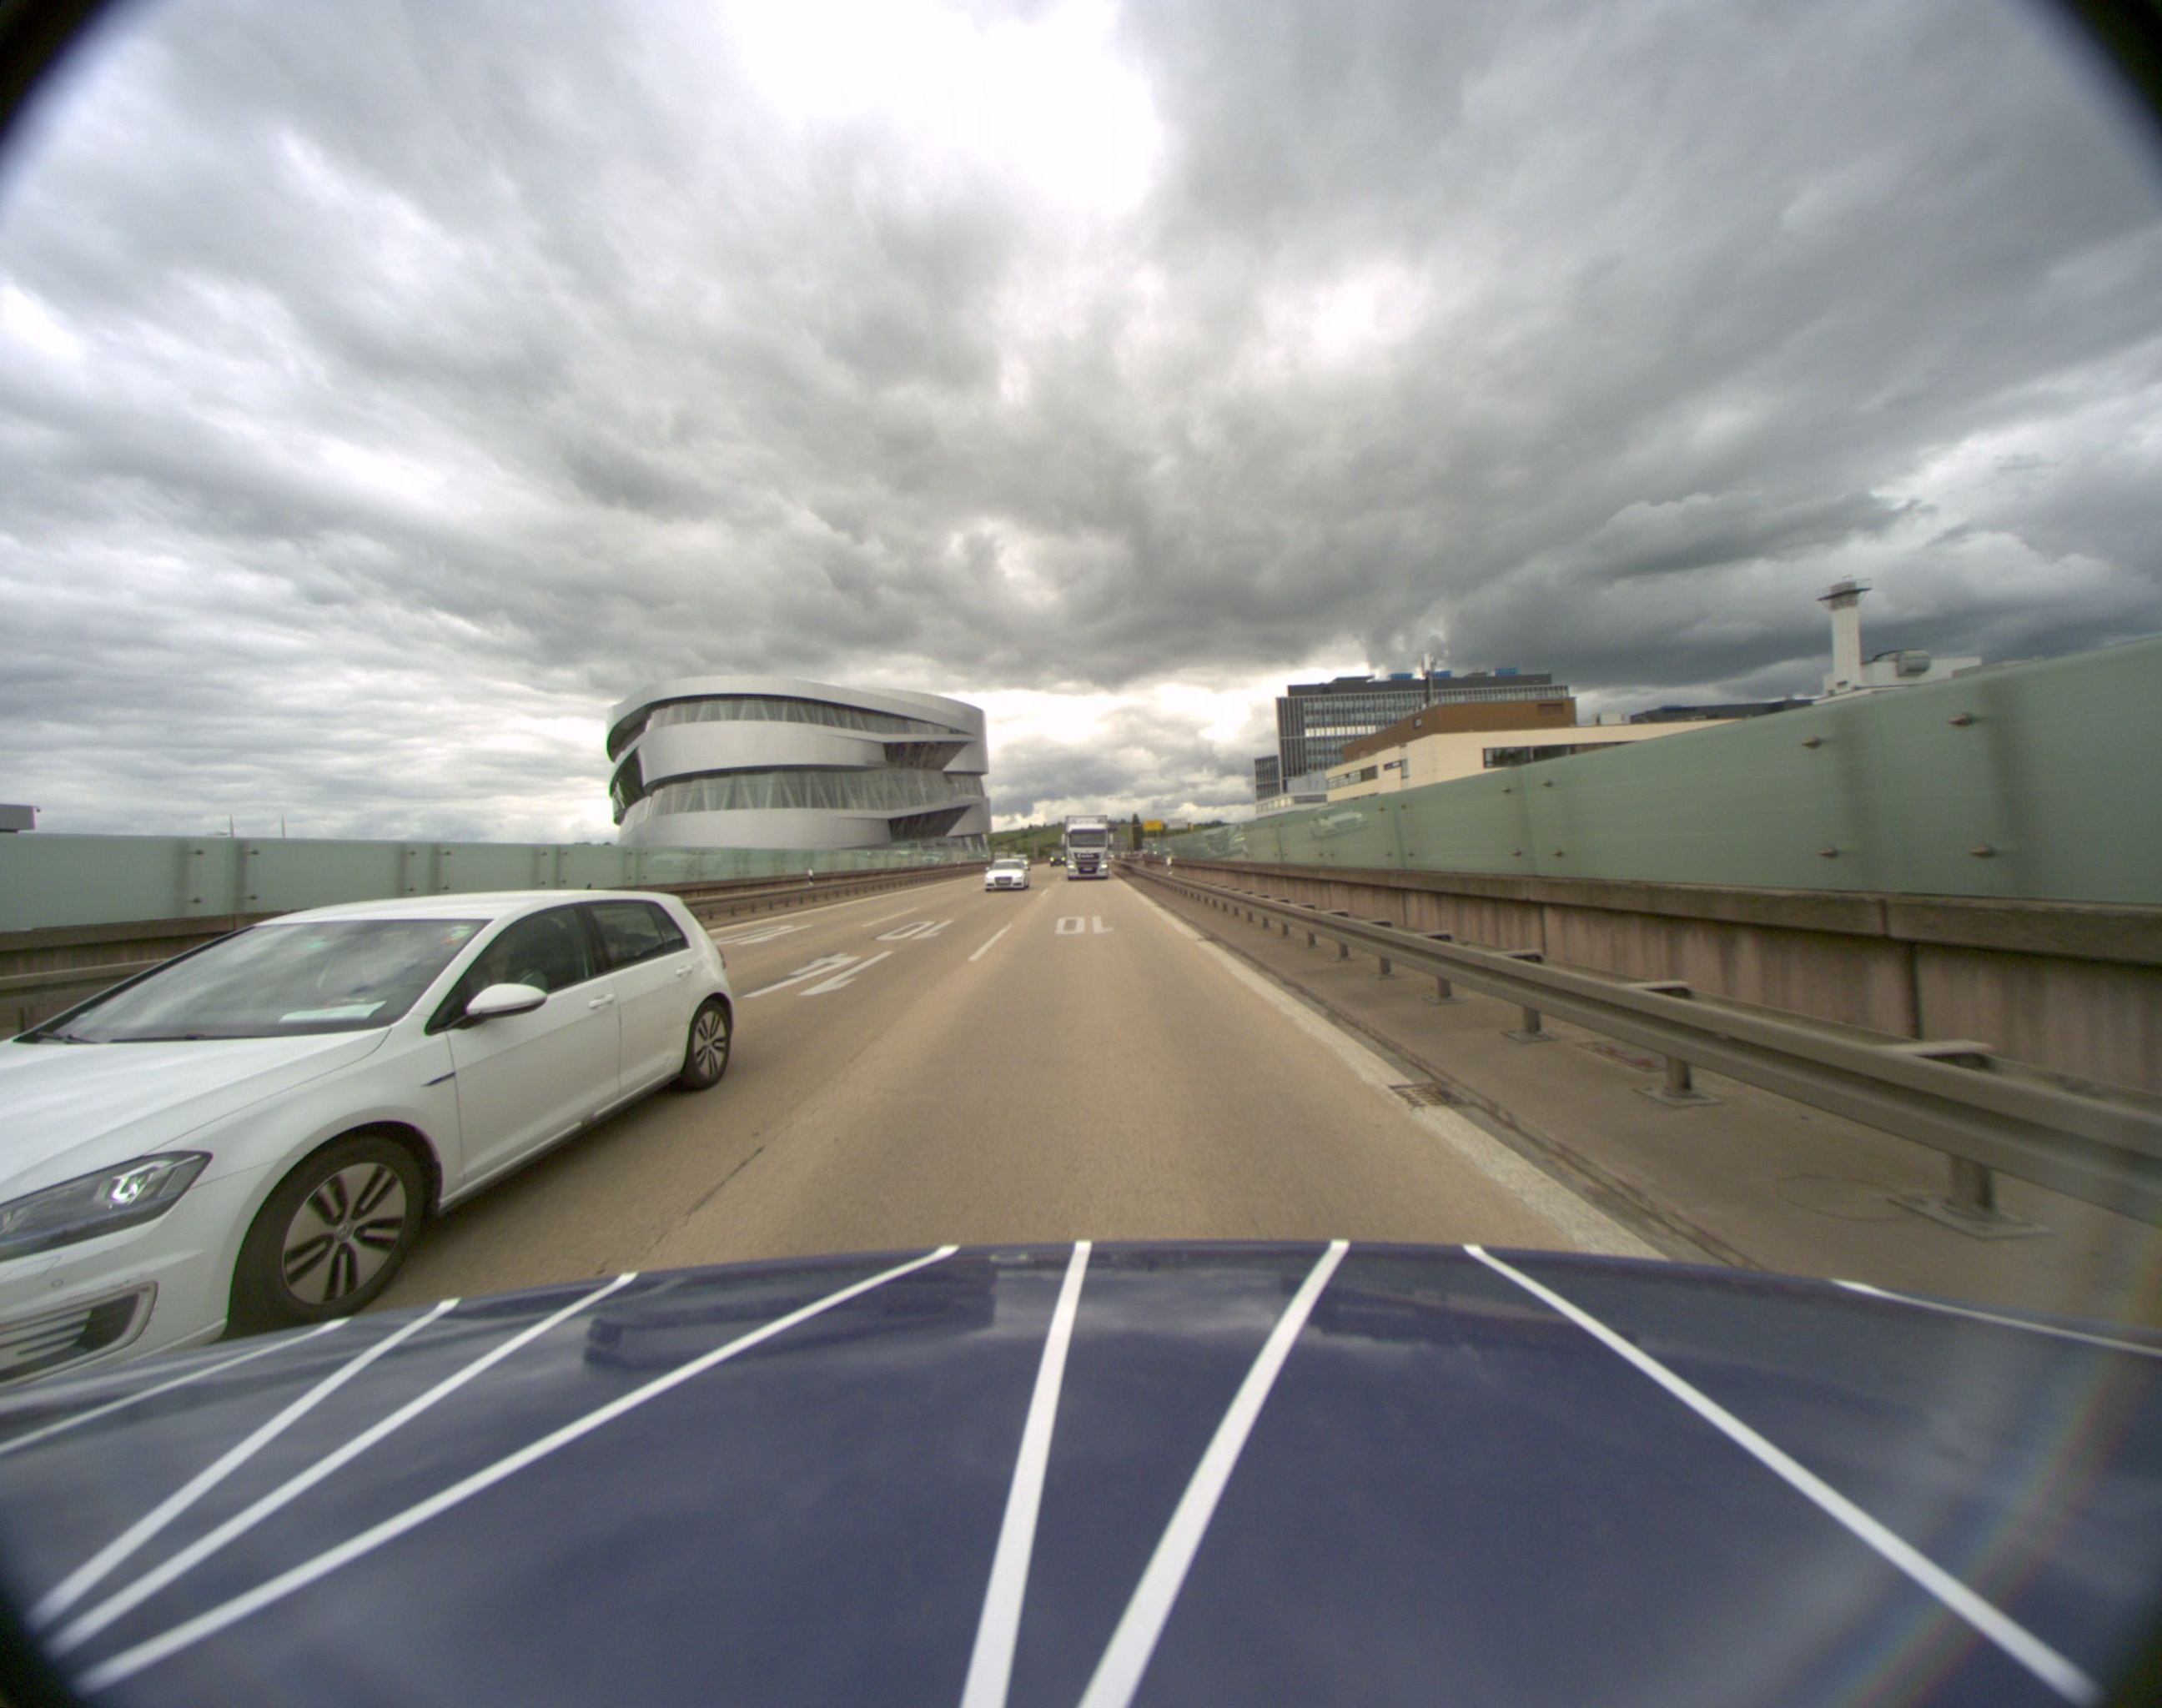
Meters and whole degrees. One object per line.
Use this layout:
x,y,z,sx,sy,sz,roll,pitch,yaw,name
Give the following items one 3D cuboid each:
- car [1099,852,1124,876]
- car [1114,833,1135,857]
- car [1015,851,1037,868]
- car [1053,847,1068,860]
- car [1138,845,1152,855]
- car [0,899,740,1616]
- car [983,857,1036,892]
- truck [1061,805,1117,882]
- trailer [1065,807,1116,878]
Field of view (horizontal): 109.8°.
2.710,0.850,67.395,1.998,2.002,3.999,-2,1,0,car
4.895,-1.005,85.842,2.144,2.494,4.524,-2,1,1,car
-5.578,0.550,77.673,1.785,1.624,3.627,-2,1,1,car
-2.586,-0.067,96.656,1.765,1.624,3.627,-2,1,1,car
10.460,-0.644,123.847,1.849,1.663,4.407,-2,0,-1,car
-3.437,1.086,3.609,1.759,1.443,4.072,-1,0,0,car
-3.234,0.892,35.128,1.848,1.443,3.933,-2,0,3,car
0.597,-0.585,45.049,2.946,4.136,6.291,-2,1,2,truck
0.760,-0.697,50.488,2.880,4.104,11.220,-2,0,2,trailer
